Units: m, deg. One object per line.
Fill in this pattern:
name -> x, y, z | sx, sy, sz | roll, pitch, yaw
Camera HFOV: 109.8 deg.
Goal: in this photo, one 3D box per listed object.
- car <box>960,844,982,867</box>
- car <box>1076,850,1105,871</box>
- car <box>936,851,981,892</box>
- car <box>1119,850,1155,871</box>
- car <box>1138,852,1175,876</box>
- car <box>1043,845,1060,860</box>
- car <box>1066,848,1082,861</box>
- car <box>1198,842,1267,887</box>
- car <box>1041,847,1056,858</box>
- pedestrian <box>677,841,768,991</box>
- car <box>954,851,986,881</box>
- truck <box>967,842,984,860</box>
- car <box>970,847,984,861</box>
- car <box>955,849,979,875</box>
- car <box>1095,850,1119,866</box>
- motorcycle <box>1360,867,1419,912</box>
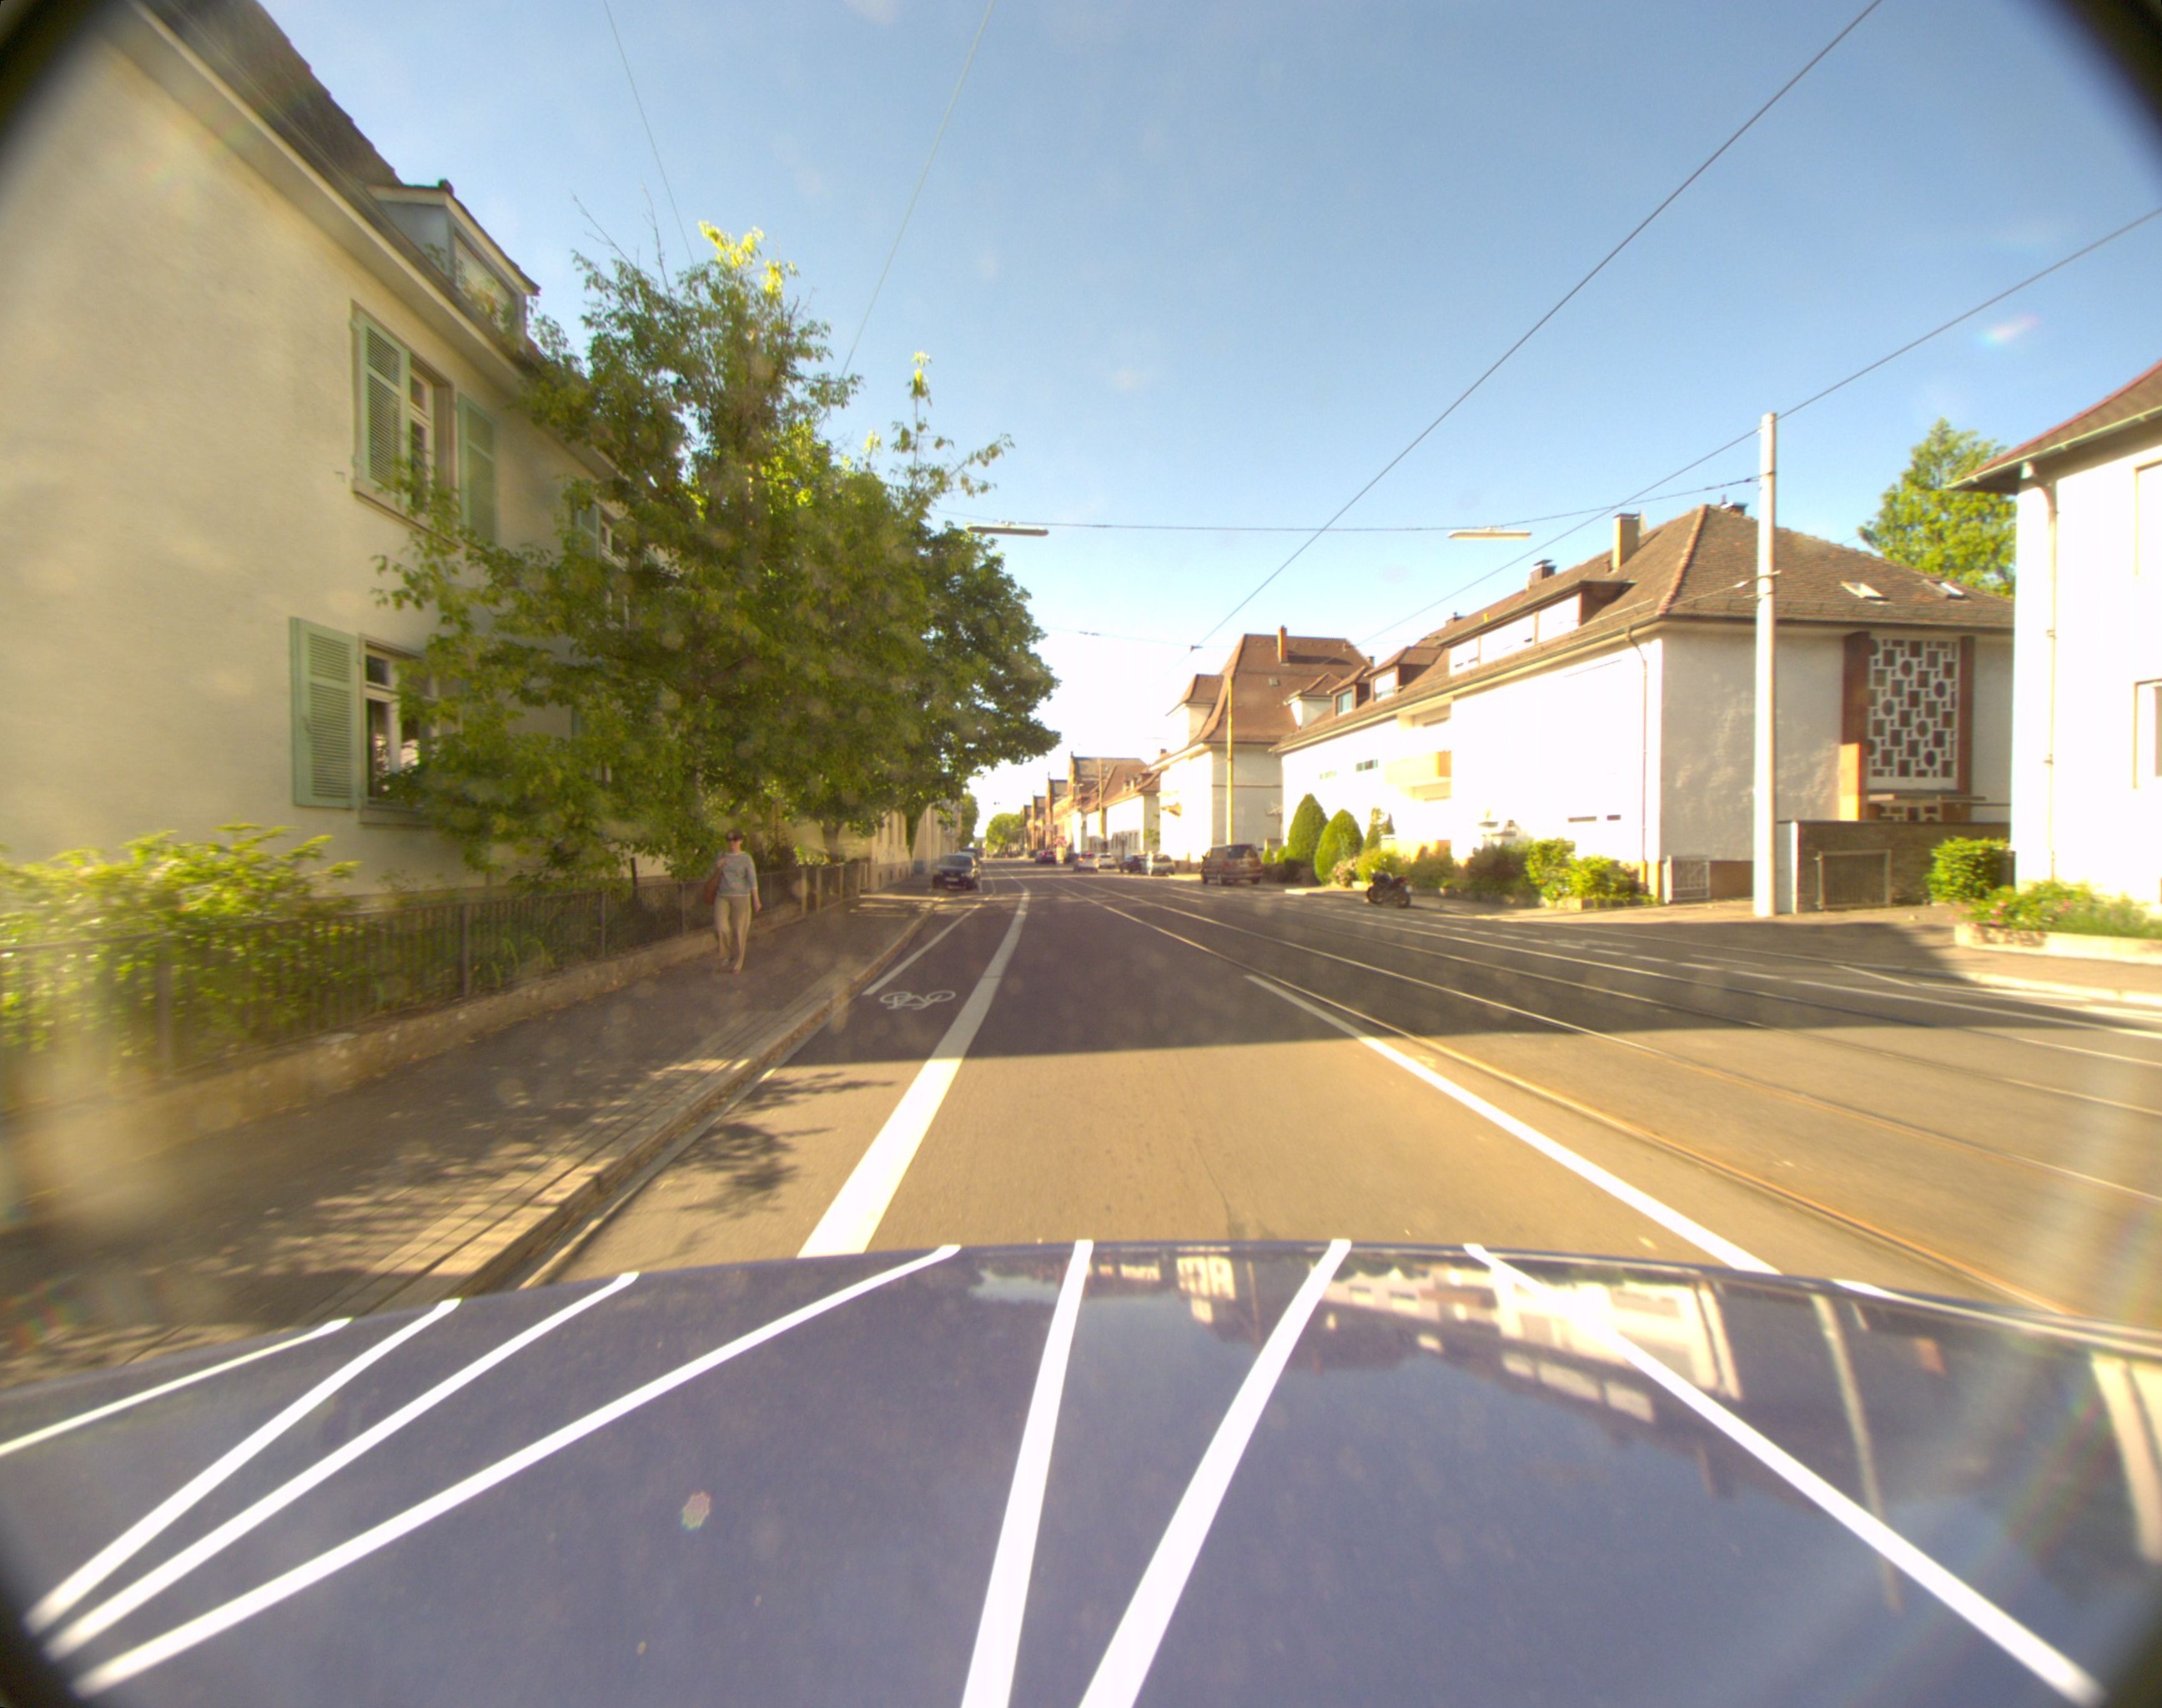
car -> -10.261, 0.124, 70.693 | 1.912, 1.976, 4.559 | -2, 1, -8
car -> 0.660, 0.446, 54.815 | 1.580, 1.468, 3.438 | 1, 0, -7
car -> -5.132, 0.693, 32.228 | 1.671, 1.555, 3.768 | 0, 1, -6
car -> 4.162, 0.479, 57.220 | 1.668, 1.468, 4.246 | 0, 0, -11
car -> 5.061, 0.631, 51.247 | 1.682, 1.468, 3.832 | -2, 1, -7
car -> -3.565, -0.226, 90.974 | 1.709, 1.695, 4.360 | 1, 1, -7
car -> -0.930, 0.030, 98.798 | 1.621, 1.618, 3.918 | 1, 1, -8
car -> 7.261, 0.456, 36.926 | 1.911, 2.002, 4.946 | -2, 1, -5
car -> -4.268, -0.211, 98.893 | 1.622, 1.452, 4.072 | 1, 1, -6
pedestrian -> -4.191, 0.698, 8.942 | 0.720, 1.678, 0.869 | 1, 1, -9
car -> -6.056, 0.629, 41.196 | 1.607, 1.516, 3.546 | -2, 1, -9
truck -> -14.676, -0.445, 105.916 | 2.303, 2.463, 6.141 | 0, 0, -7
car -> -13.603, 0.032, 99.717 | 1.745, 1.736, 4.252 | -2, 1, -7
car -> -7.477, 0.493, 49.807 | 1.462, 1.590, 3.291 | -2, 1, -9
car -> 2.471, 0.348, 72.189 | 1.636, 1.449, 4.012 | 1, 1, -7
motorcycle -> 8.802, 0.986, 21.770 | 0.538, 1.156, 2.170 | 2, 1, -7
